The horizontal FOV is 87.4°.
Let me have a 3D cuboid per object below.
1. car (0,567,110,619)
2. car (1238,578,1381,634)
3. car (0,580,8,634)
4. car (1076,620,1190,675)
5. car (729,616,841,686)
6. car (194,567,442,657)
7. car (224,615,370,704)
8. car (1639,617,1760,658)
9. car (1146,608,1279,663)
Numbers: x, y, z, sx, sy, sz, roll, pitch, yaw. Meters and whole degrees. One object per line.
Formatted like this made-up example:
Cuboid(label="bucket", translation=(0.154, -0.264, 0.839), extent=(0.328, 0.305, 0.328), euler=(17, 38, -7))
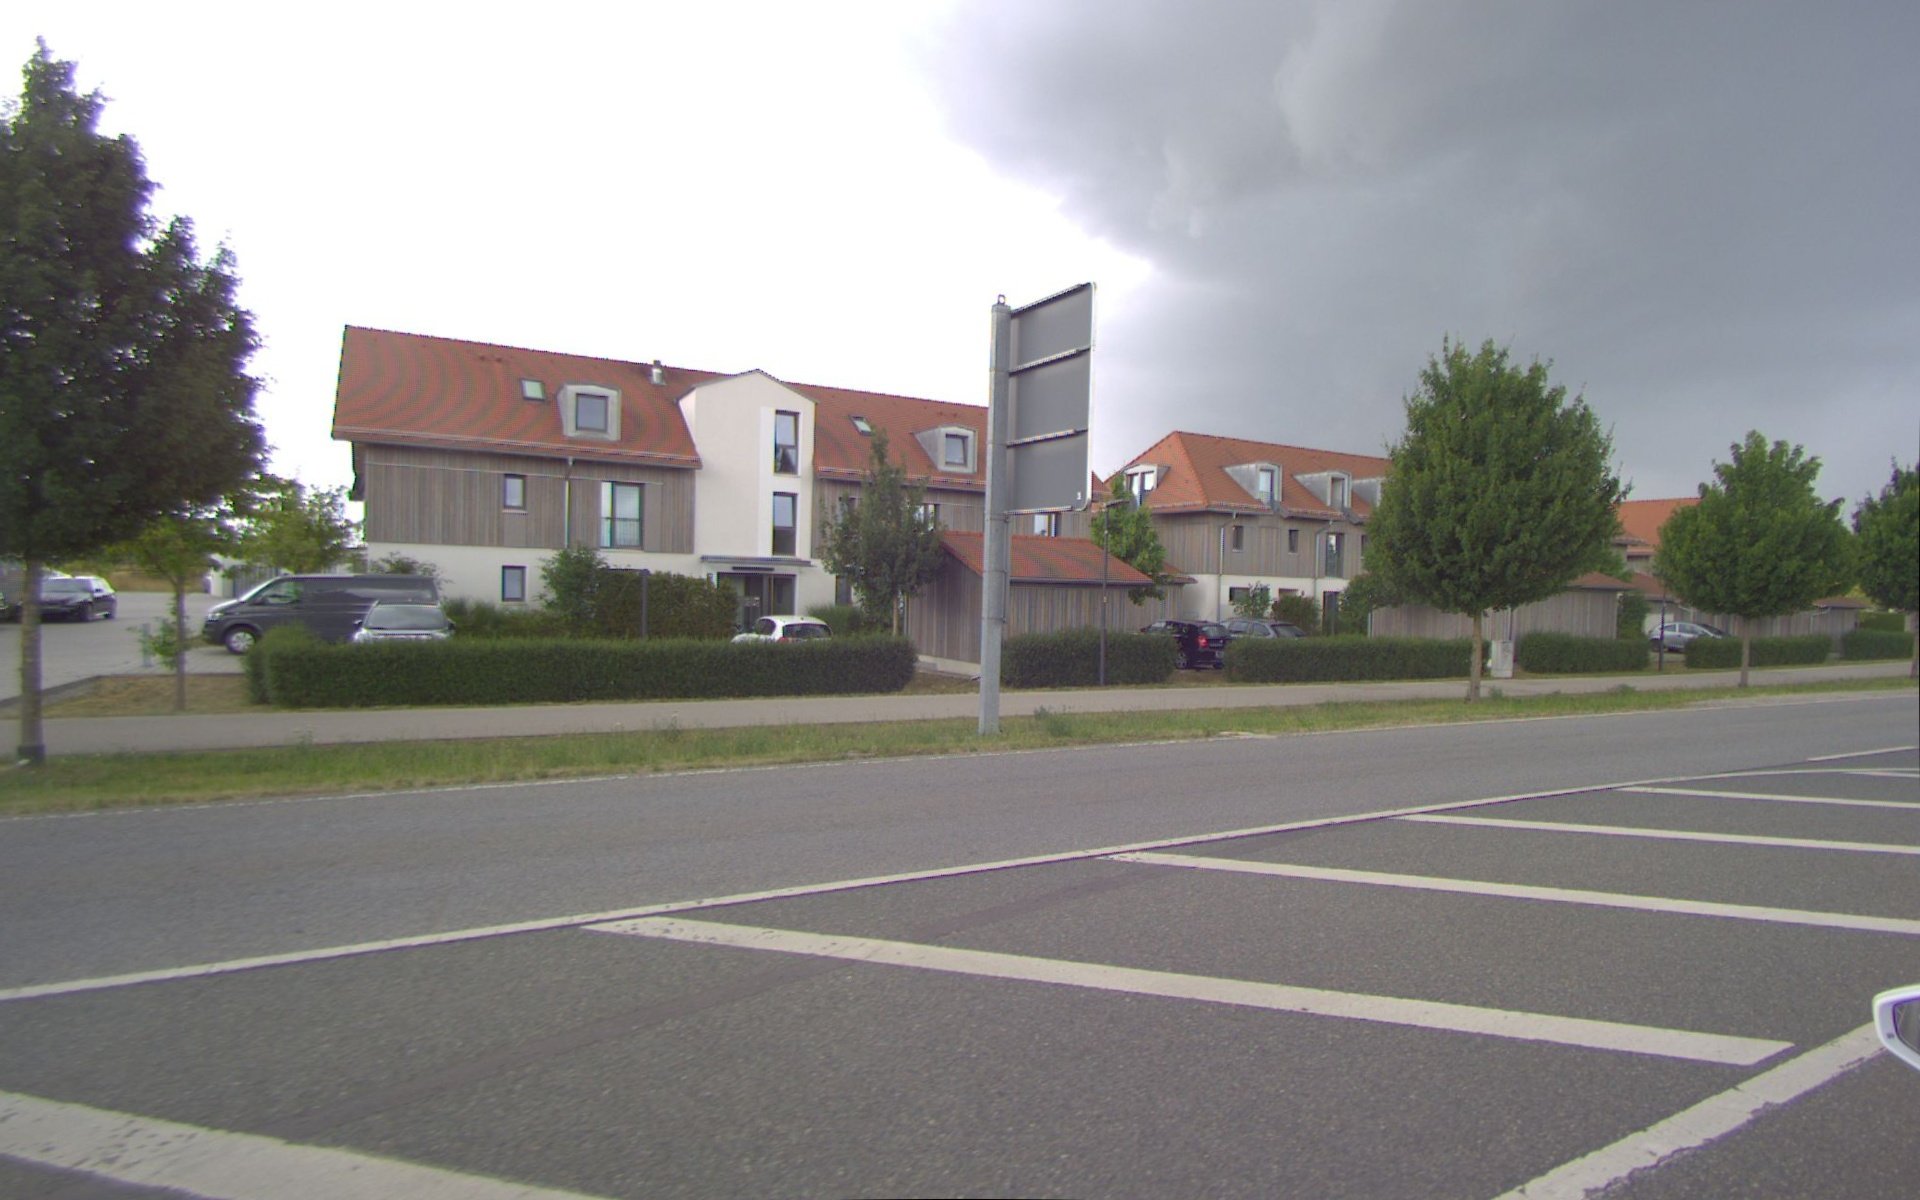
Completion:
Cuboid(label="car", translation=(-29.932, -0.195, 33.162), extent=(1.975, 1.607, 3.972), euler=(1, -1, -27))
Cuboid(label="car", translation=(10.875, 0.208, 31.536), extent=(1.975, 1.639, 3.971), euler=(1, -1, -28))
Cuboid(label="car", translation=(-29.406, 0.179, 28.024), extent=(3.966, 1.547, 1.556), euler=(1, -1, -40))
Cuboid(label="car", translation=(5.155, 1.386, 30.265), extent=(1.545, 1.509, 3.498), euler=(1, -1, -29))
Cuboid(label="car", translation=(-4.230, 1.153, 23.924), extent=(1.545, 1.509, 3.498), euler=(1, -1, -29))
Cuboid(label="car", translation=(-16.135, 0.291, 25.643), extent=(5.133, 2.041, 1.986), euler=(1, 4, -27))
Cuboid(label="car", translation=(-12.634, 1.044, 19.437), extent=(1.882, 1.449, 4.885), euler=(1, -1, -28))
Cuboid(label="car", translation=(33.847, 1.678, 46.063), extent=(1.975, 1.577, 3.970), euler=(1, 2, -28))
Cuboid(label="car", translation=(7.986, 1.086, 32.090), extent=(1.975, 1.639, 3.971), euler=(1, -1, -28))
